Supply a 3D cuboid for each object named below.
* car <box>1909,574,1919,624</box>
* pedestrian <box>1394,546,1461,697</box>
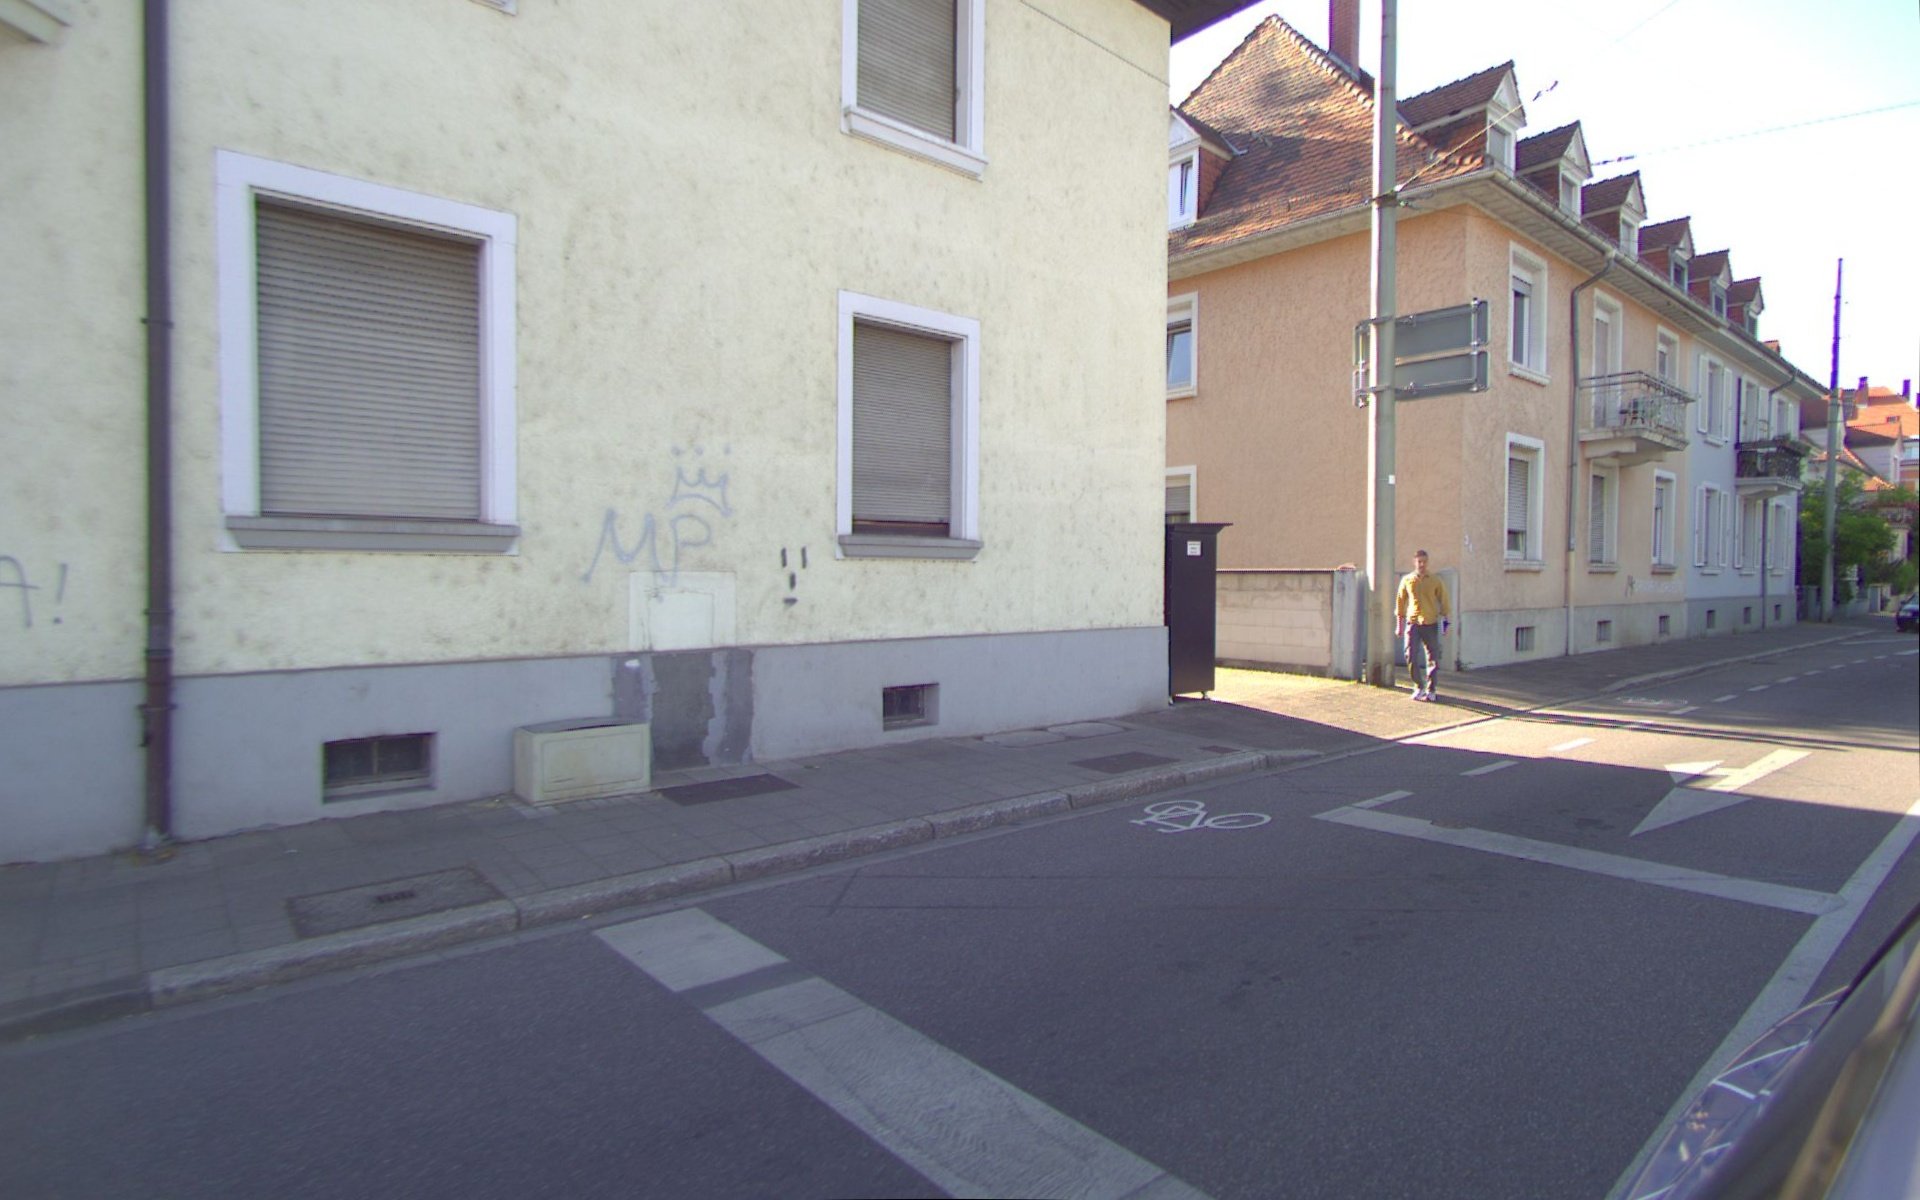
[{"bbox_3d":[30.843,-0.026,31.034,3.926,1.504,1.883,-1,2,-37],"label":"car"},{"bbox_3d":[5.707,0.246,12.362,0.600,1.782,0.479,1,1,44],"label":"pedestrian"}]
